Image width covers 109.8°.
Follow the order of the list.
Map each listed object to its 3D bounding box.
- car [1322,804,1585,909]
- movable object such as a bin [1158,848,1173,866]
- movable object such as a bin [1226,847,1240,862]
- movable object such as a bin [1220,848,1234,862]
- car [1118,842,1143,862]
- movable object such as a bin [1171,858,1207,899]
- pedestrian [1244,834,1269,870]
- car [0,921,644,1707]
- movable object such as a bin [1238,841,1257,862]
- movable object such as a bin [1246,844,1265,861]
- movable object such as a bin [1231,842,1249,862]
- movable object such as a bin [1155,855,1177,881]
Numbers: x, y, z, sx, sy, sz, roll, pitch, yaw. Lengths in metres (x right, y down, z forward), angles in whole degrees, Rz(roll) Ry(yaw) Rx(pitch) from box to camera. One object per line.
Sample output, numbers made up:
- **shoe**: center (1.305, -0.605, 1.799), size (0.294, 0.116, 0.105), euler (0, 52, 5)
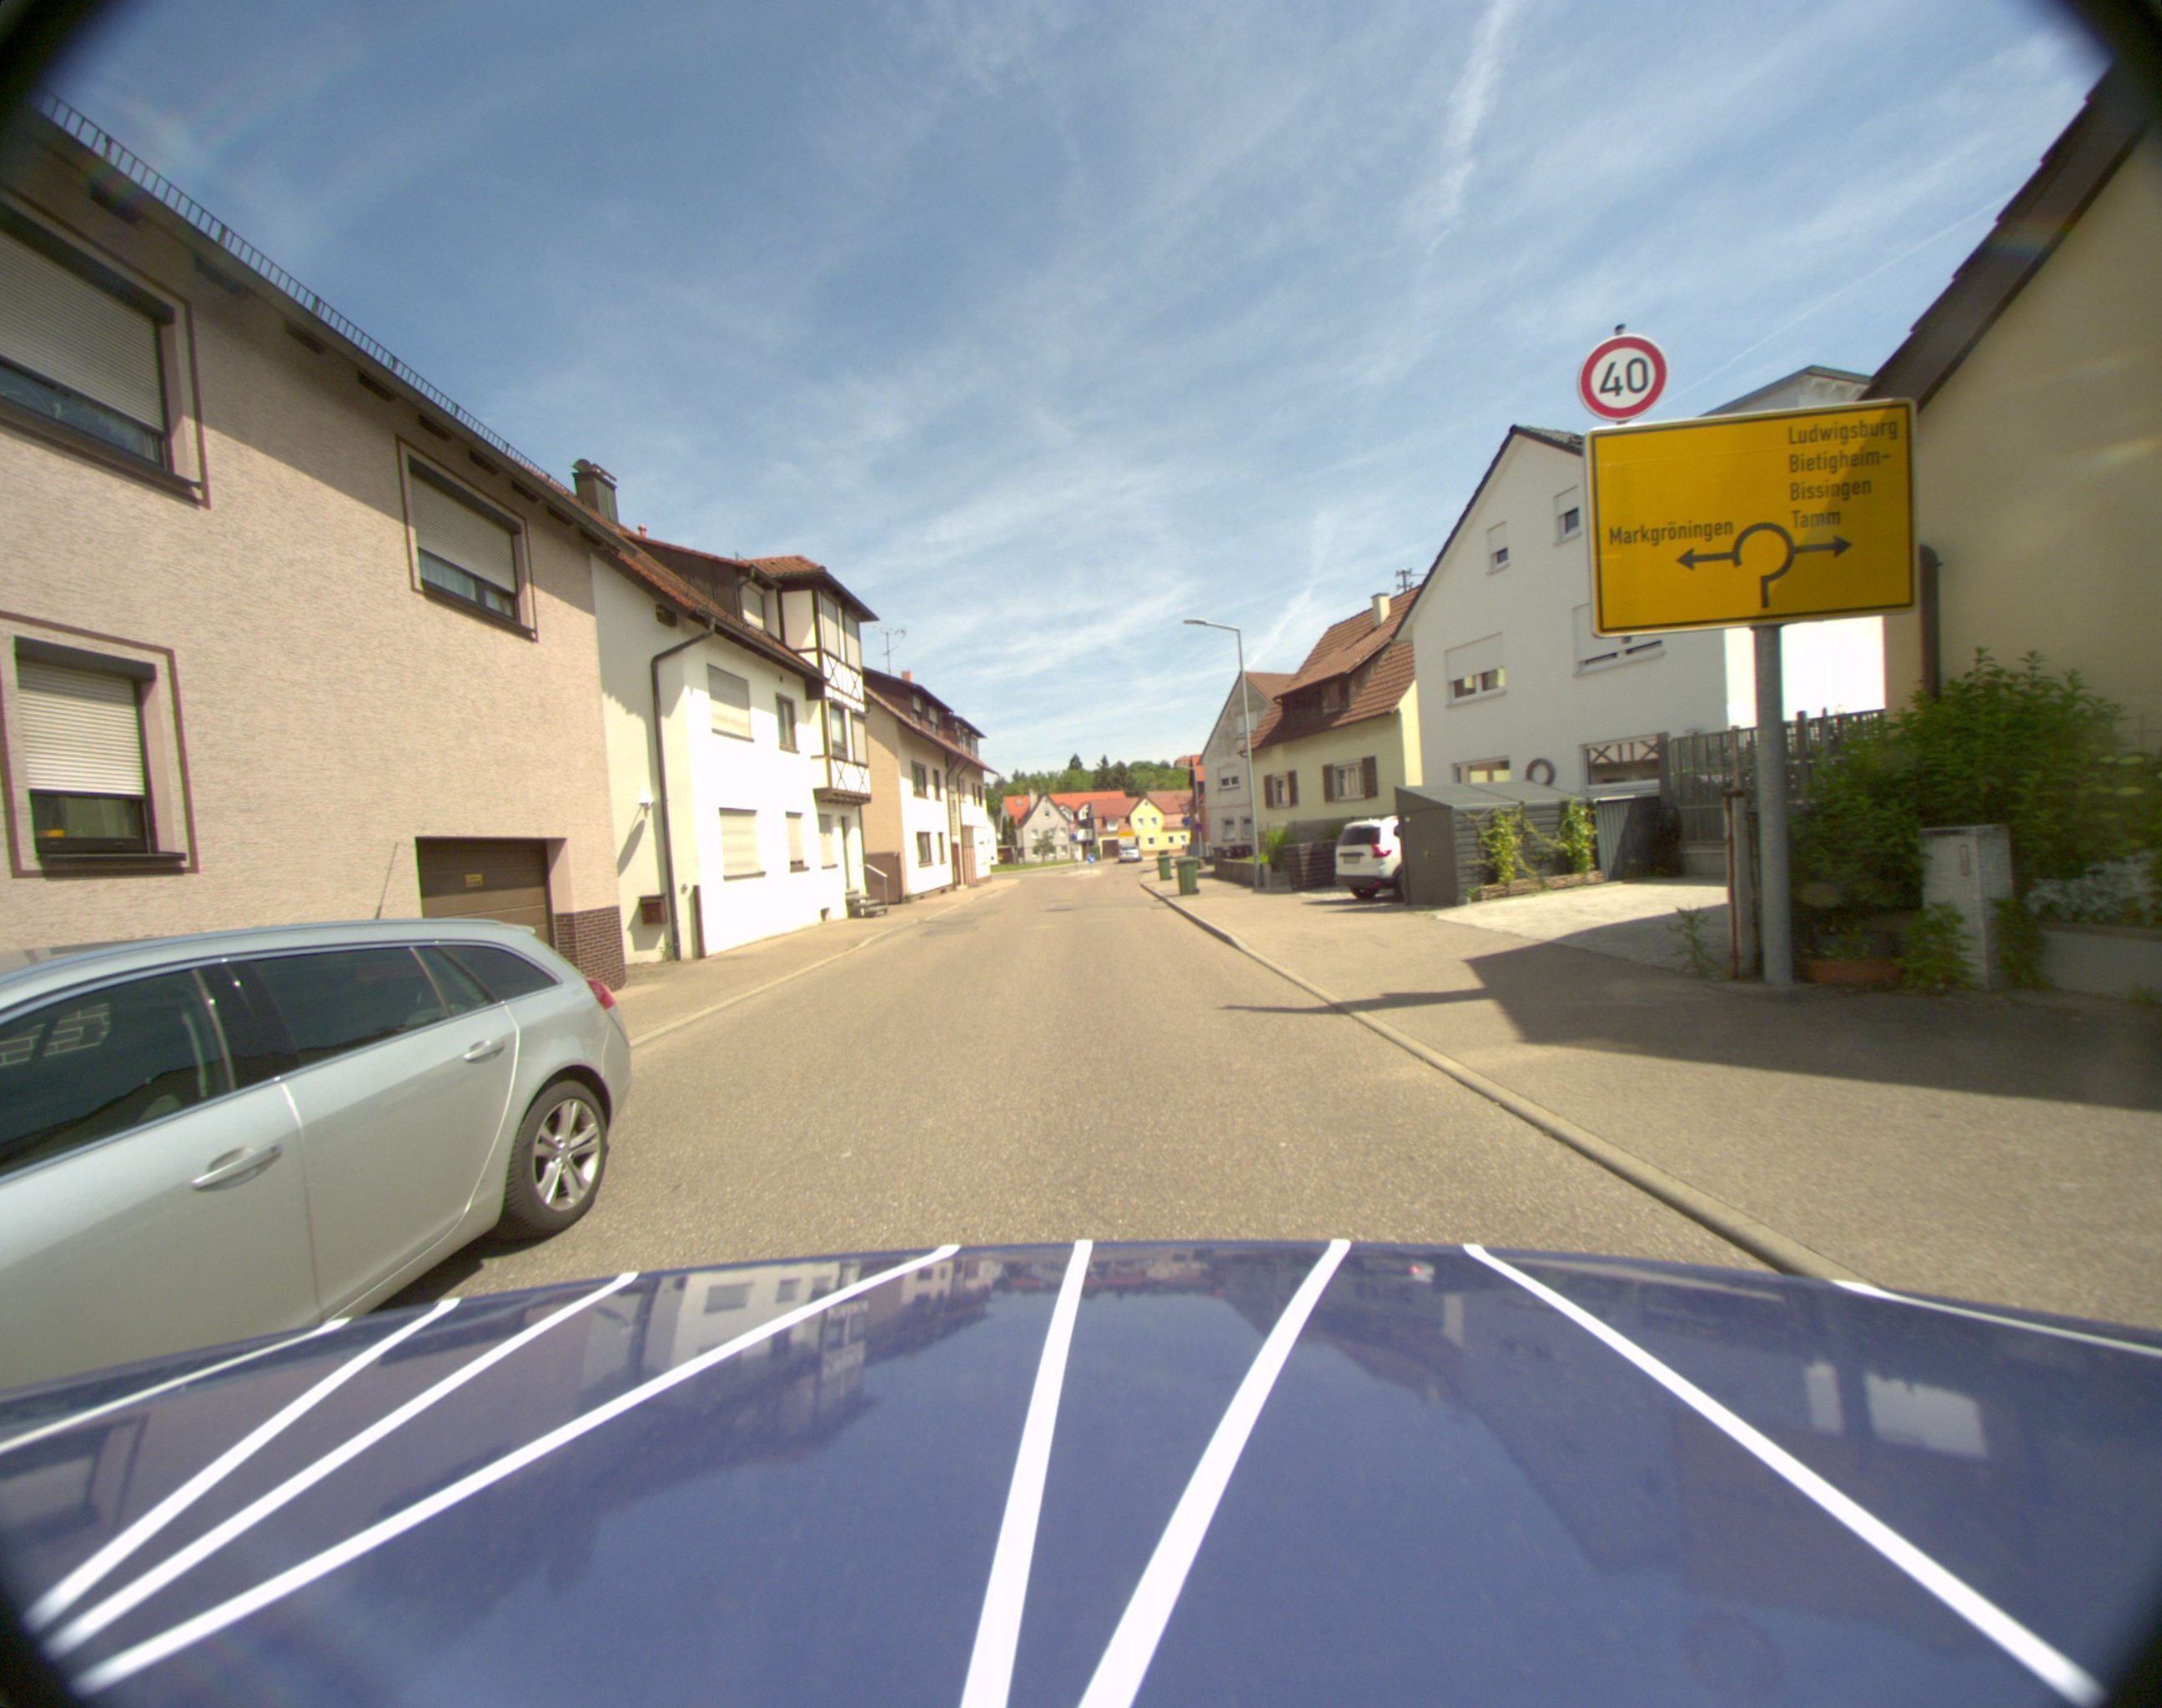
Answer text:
- **car**: center (7.475, 0.010, 15.436), size (4.416, 1.613, 1.998), euler (-5, 1, -12)
- **movable object such as a bin**: center (5.480, 0.192, 48.990), size (0.810, 1.039, 0.827), euler (-5, 1, 11)
- **movable object such as a bin**: center (8.865, 0.031, 44.339), size (0.487, 0.776, 0.526), euler (-6, 1, -25)
- **movable object such as a bin**: center (8.655, 0.056, 44.968), size (0.487, 0.801, 0.645), euler (-6, 1, -24)
- **car**: center (4.300, -0.199, 65.581), size (1.959, 1.478, 4.460), euler (-5, 1, 5)
- **movable object such as a bin**: center (3.072, 0.681, 21.653), size (0.828, 1.071, 0.818), euler (-5, 1, 2)
- **pedestrian**: center (7.996, -0.068, 34.642), size (0.779, 1.565, 0.627), euler (-5, 1, -8)
- **car**: center (-3.121, 1.153, 1.788), size (1.791, 1.433, 4.335), euler (-6, 1, -4)
- **movable object such as a bin**: center (9.436, -0.135, 43.121), size (0.686, 1.080, 0.697), euler (-6, 1, -25)
- **movable object such as a bin**: center (9.732, -0.071, 42.393), size (0.686, 0.891, 0.697), euler (-6, 1, -25)
- **movable object such as a bin**: center (9.149, -0.112, 43.762), size (0.686, 1.080, 0.644), euler (-6, 1, -25)
- **movable object such as a bin**: center (3.626, 0.601, 32.397), size (0.793, 1.051, 0.651), euler (-5, 1, -3)
